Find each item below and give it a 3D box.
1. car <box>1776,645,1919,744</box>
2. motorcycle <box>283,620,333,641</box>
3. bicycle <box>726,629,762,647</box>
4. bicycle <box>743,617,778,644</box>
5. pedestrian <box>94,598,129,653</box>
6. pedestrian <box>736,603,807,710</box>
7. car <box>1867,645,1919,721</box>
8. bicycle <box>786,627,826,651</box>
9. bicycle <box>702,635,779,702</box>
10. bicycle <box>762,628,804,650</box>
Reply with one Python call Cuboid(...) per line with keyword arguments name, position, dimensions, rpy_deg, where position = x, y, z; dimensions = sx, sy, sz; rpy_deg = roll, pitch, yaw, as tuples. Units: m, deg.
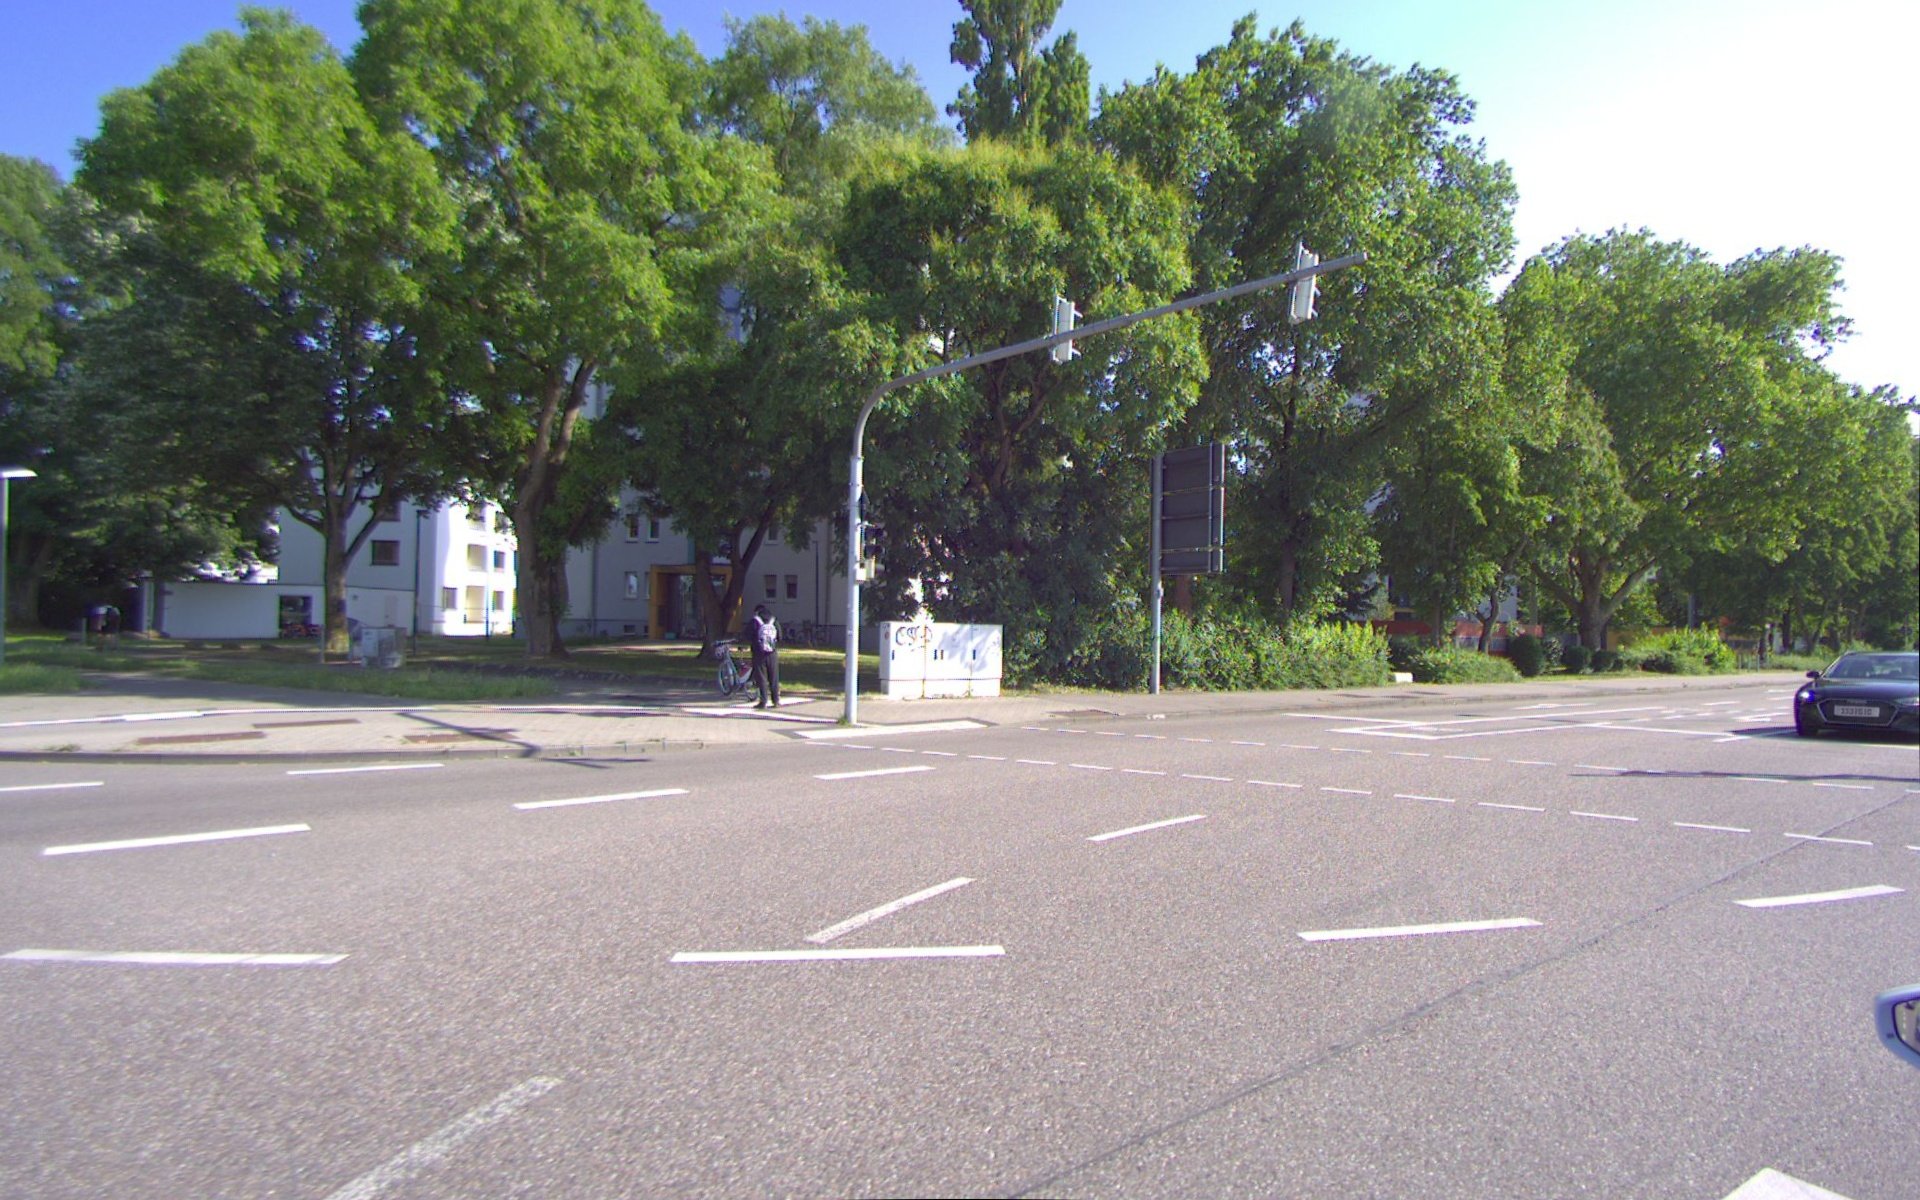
Cuboid(name="car", position=(15.702, 1.512, 17.034), dimensions=(4.688, 1.450, 1.816), rpy_deg=(2, -3, -37))
Cuboid(name="motorcycle", position=(-31.415, 1.477, 48.422), dimensions=(2.005, 0.977, 0.526), rpy_deg=(1, -1, -4))
Cuboid(name="bicycle", position=(-9.238, 1.613, 43.048), dimensions=(0.496, 0.718, 2.117), rpy_deg=(1, -1, 17))
Cuboid(name="bicycle", position=(-8.446, 1.323, 42.583), dimensions=(0.600, 1.080, 1.919), rpy_deg=(2, -2, 15))
Cuboid(name="pedestrian", position=(-27.265, 0.814, 32.277), dimensions=(0.695, 1.736, 0.621), rpy_deg=(1, -1, -26))
Cuboid(name="pedestrian", position=(-3.216, 0.944, 17.133), dimensions=(0.921, 1.775, 0.811), rpy_deg=(2, -1, -33))
Cuboid(name="car", position=(20.399, 1.674, 20.703), dimensions=(4.342, 1.454, 1.815), rpy_deg=(2, -2, -38))
Cuboid(name="bicycle", position=(-6.450, 1.624, 42.141), dimensions=(0.657, 0.932, 2.408), rpy_deg=(1, -1, 17))
Cuboid(name="bicycle", position=(-4.089, 1.245, 18.607), dimensions=(0.626, 1.134, 1.895), rpy_deg=(2, -1, -38))
Cuboid(name="bicycle", position=(-7.460, 1.631, 42.464), dimensions=(0.662, 0.887, 2.486), rpy_deg=(1, -1, 17))
